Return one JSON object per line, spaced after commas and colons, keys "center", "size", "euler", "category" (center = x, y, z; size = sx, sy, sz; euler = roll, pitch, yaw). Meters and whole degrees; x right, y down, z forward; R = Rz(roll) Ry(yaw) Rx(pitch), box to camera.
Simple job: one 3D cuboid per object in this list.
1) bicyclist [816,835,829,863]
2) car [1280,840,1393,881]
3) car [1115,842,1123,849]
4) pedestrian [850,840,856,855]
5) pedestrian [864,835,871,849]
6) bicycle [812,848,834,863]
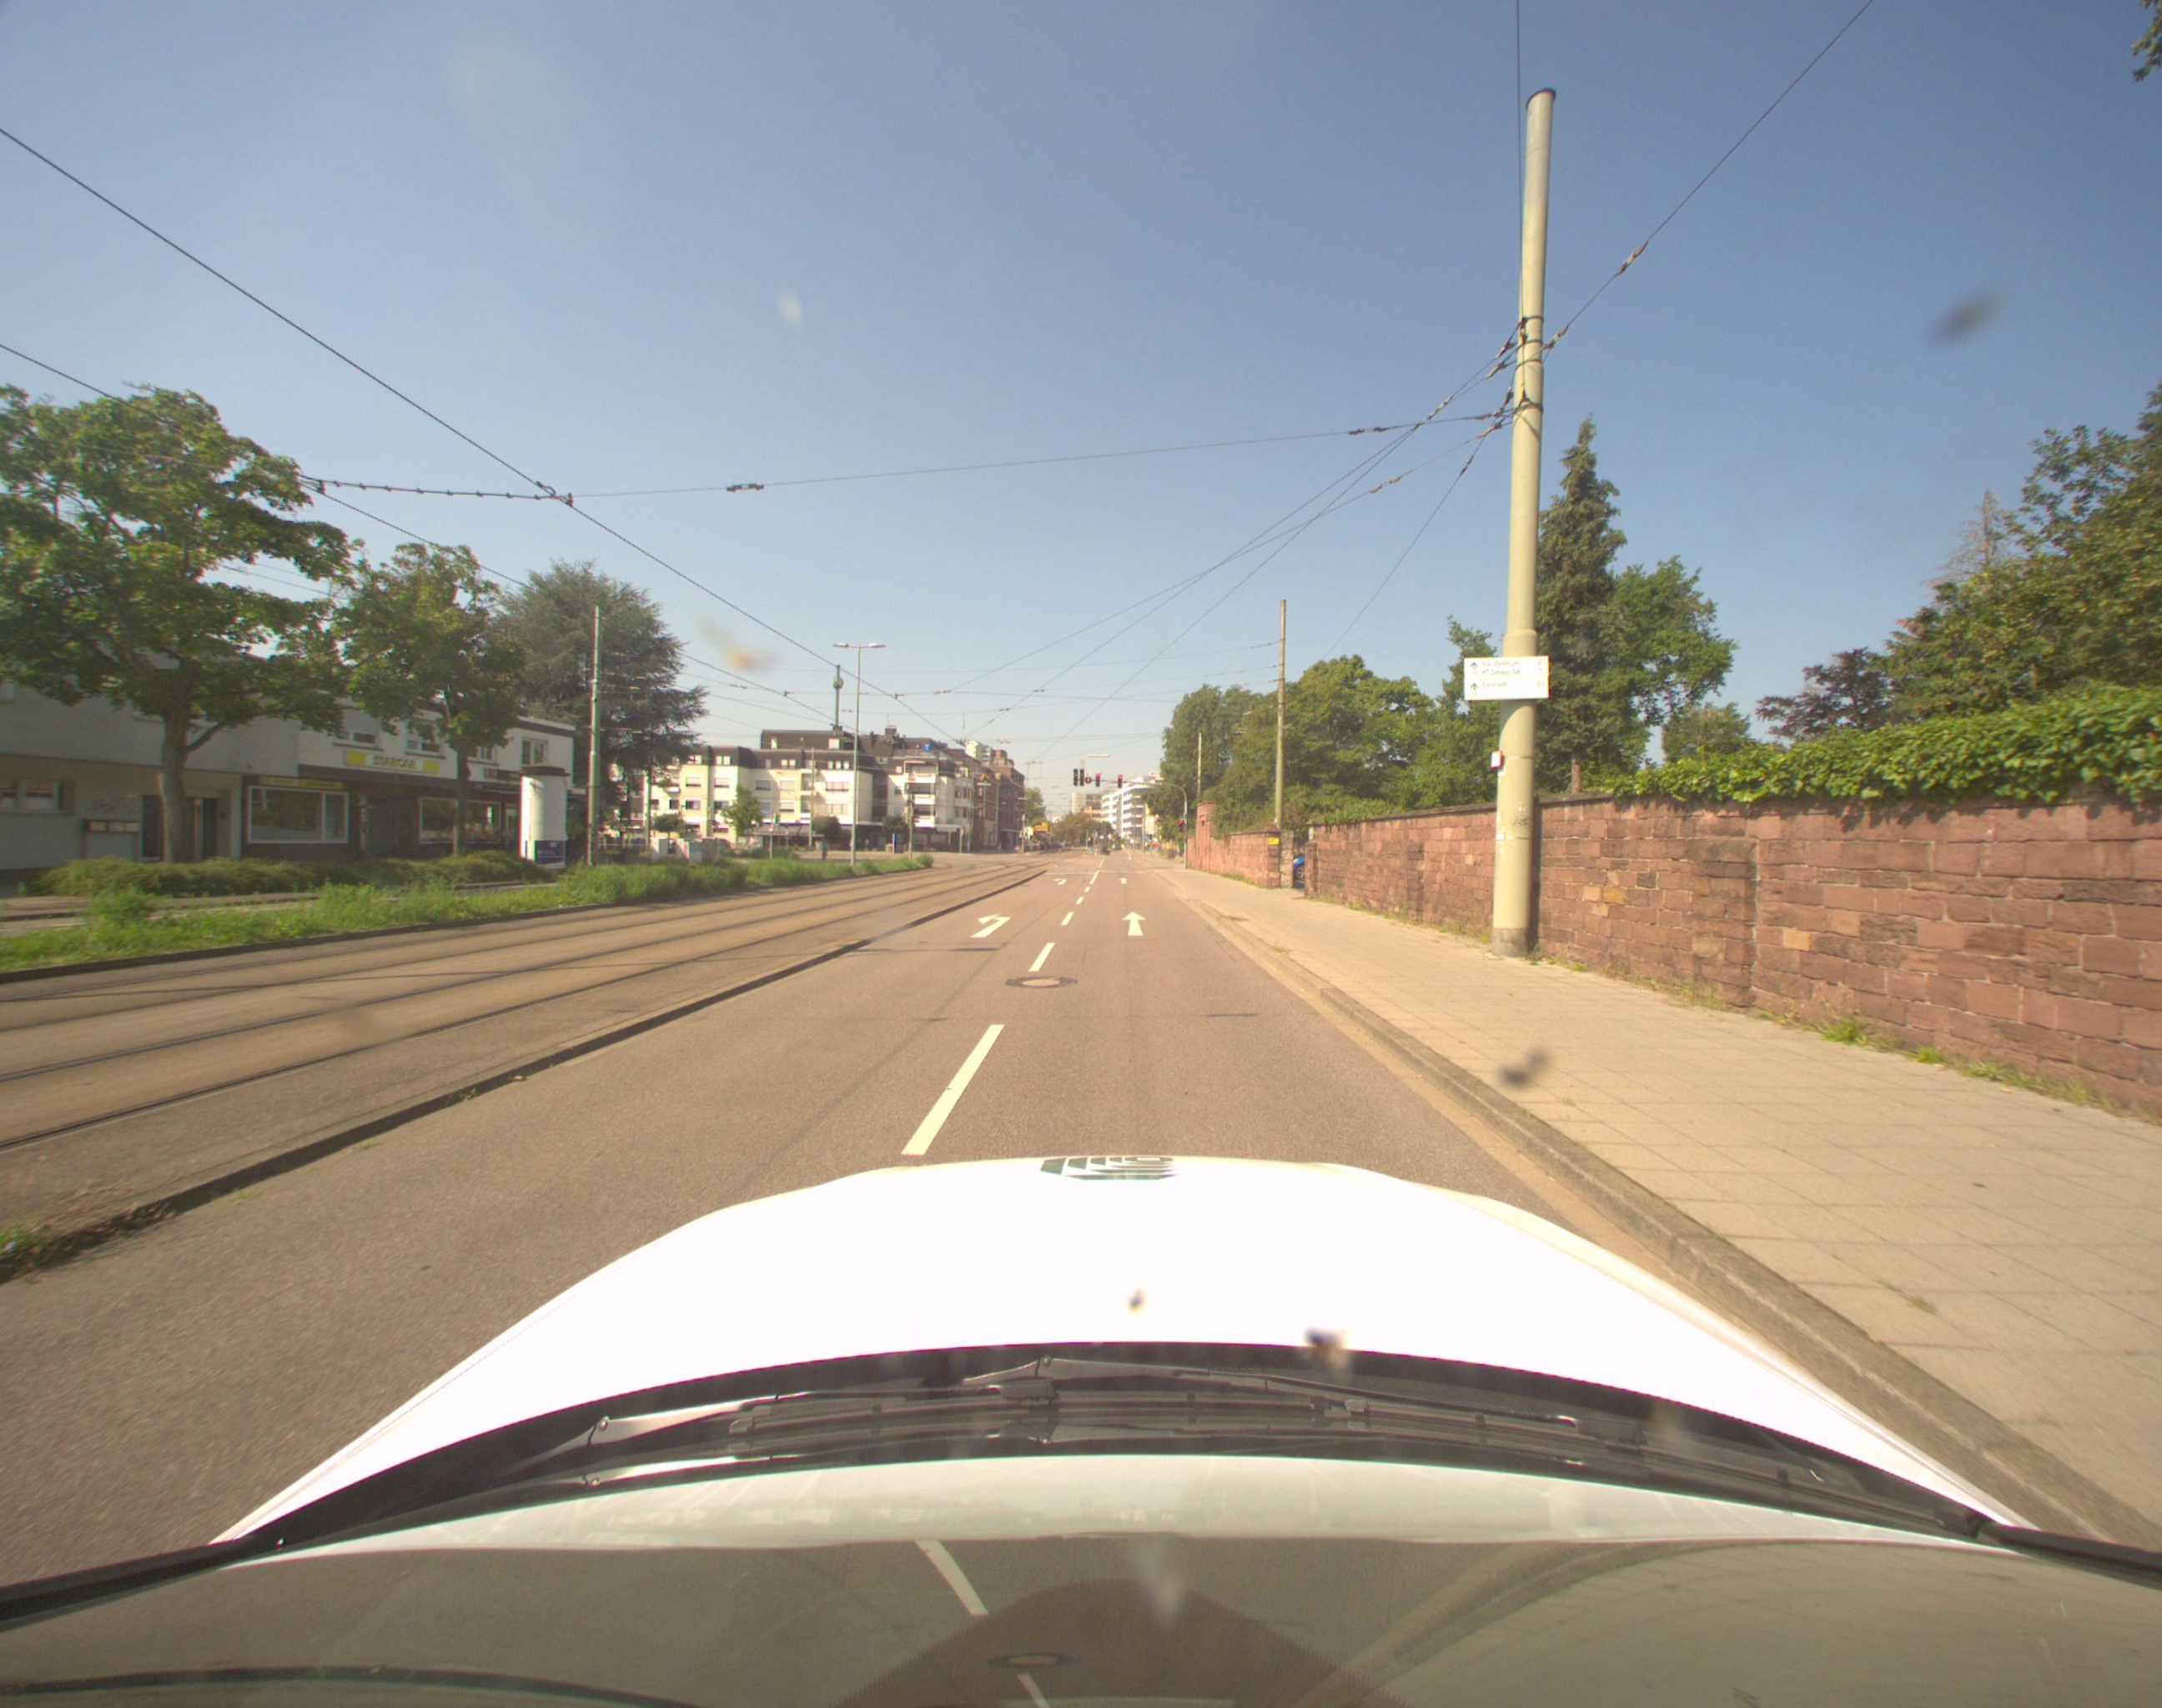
{"center": [-19.077, -0.385, 60.129], "size": [0.634, 2.064, 0.776], "euler": [-1, 1, 6], "category": "bicyclist"}
{"center": [10.197, 0.245, 32.702], "size": [3.953, 1.464, 1.778], "euler": [2, 2, 1], "category": "car"}
{"center": [10.657, -2.404, 228.441], "size": [2.002, 1.858, 4.004], "euler": [-1, 1, 4], "category": "car"}
{"center": [-27.061, -0.792, 96.677], "size": [0.602, 1.745, 0.560], "euler": [-1, 1, -31], "category": "pedestrian"}
{"center": [-26.891, -1.542, 102.599], "size": [0.676, 1.741, 0.699], "euler": [-1, 1, 3], "category": "pedestrian"}
{"center": [-19.062, 0.097, 60.200], "size": [0.711, 1.091, 2.269], "euler": [-1, 1, 6], "category": "bicycle"}
